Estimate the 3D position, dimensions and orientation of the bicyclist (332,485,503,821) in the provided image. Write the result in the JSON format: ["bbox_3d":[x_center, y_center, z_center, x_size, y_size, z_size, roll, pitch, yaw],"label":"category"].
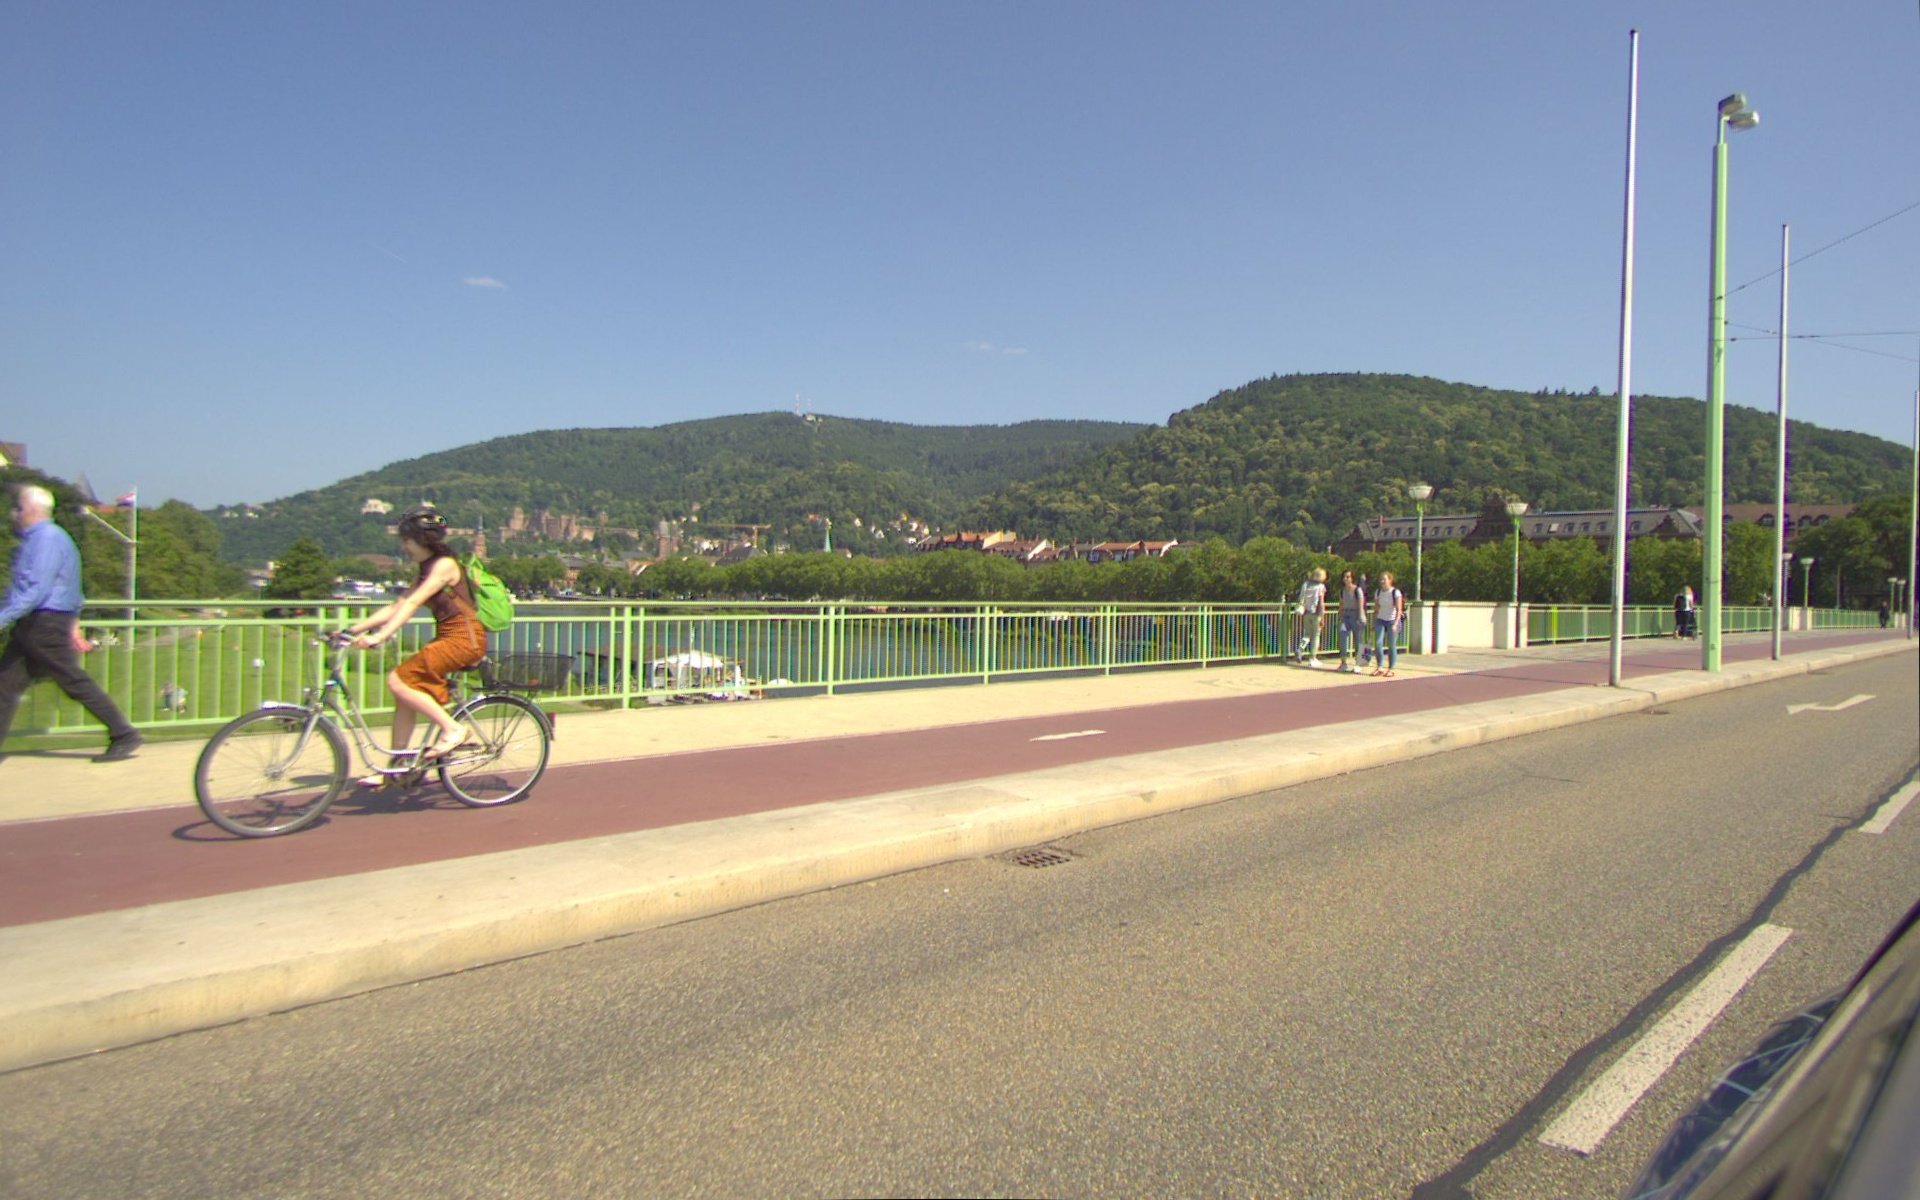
[{"bbox_3d":[-2.938,0.253,5.476,0.689,1.671,0.606,0,2,-40],"label":"bicyclist"}]

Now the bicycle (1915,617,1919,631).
[{"bbox_3d":[56.141,1.403,58.915,1.834,0.775,0.595,0,2,-41],"label":"bicycle"}]

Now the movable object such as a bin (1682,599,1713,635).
[{"bbox_3d":[23.797,0.545,32.651,0.917,1.104,0.583,0,1,-42],"label":"movable object such as a bin"}]

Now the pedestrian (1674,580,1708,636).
[{"bbox_3d":[23.180,0.245,32.095,0.844,1.727,0.664,0,2,-41],"label":"pedestrian"}]

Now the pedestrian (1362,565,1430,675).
[{"bbox_3d":[6.886,0.298,15.974,0.811,1.679,0.664,0,2,-41],"label":"pedestrian"}]

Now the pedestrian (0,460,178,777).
[{"bbox_3d":[-5.903,0.100,6.675,1.117,1.921,0.927,0,1,-41],"label":"pedestrian"}]

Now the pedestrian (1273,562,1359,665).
[{"bbox_3d":[6.124,0.208,17.412,1.063,1.683,0.949,0,2,-41],"label":"pedestrian"}]

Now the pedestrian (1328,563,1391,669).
[{"bbox_3d":[6.549,0.250,16.586,0.733,1.679,0.668,0,2,-41],"label":"pedestrian"}]

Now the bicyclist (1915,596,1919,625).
[{"bbox_3d":[56.201,0.641,58.942,0.829,1.685,0.731,1,1,-40],"label":"bicyclist"}]

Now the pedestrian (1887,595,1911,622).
[{"bbox_3d":[59.214,0.524,63.814,1.063,1.683,0.949,1,2,-41],"label":"pedestrian"}]

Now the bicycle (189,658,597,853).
[{"bbox_3d":[-2.981,0.759,5.454,1.834,0.775,0.595,0,2,-41],"label":"bicycle"}]
